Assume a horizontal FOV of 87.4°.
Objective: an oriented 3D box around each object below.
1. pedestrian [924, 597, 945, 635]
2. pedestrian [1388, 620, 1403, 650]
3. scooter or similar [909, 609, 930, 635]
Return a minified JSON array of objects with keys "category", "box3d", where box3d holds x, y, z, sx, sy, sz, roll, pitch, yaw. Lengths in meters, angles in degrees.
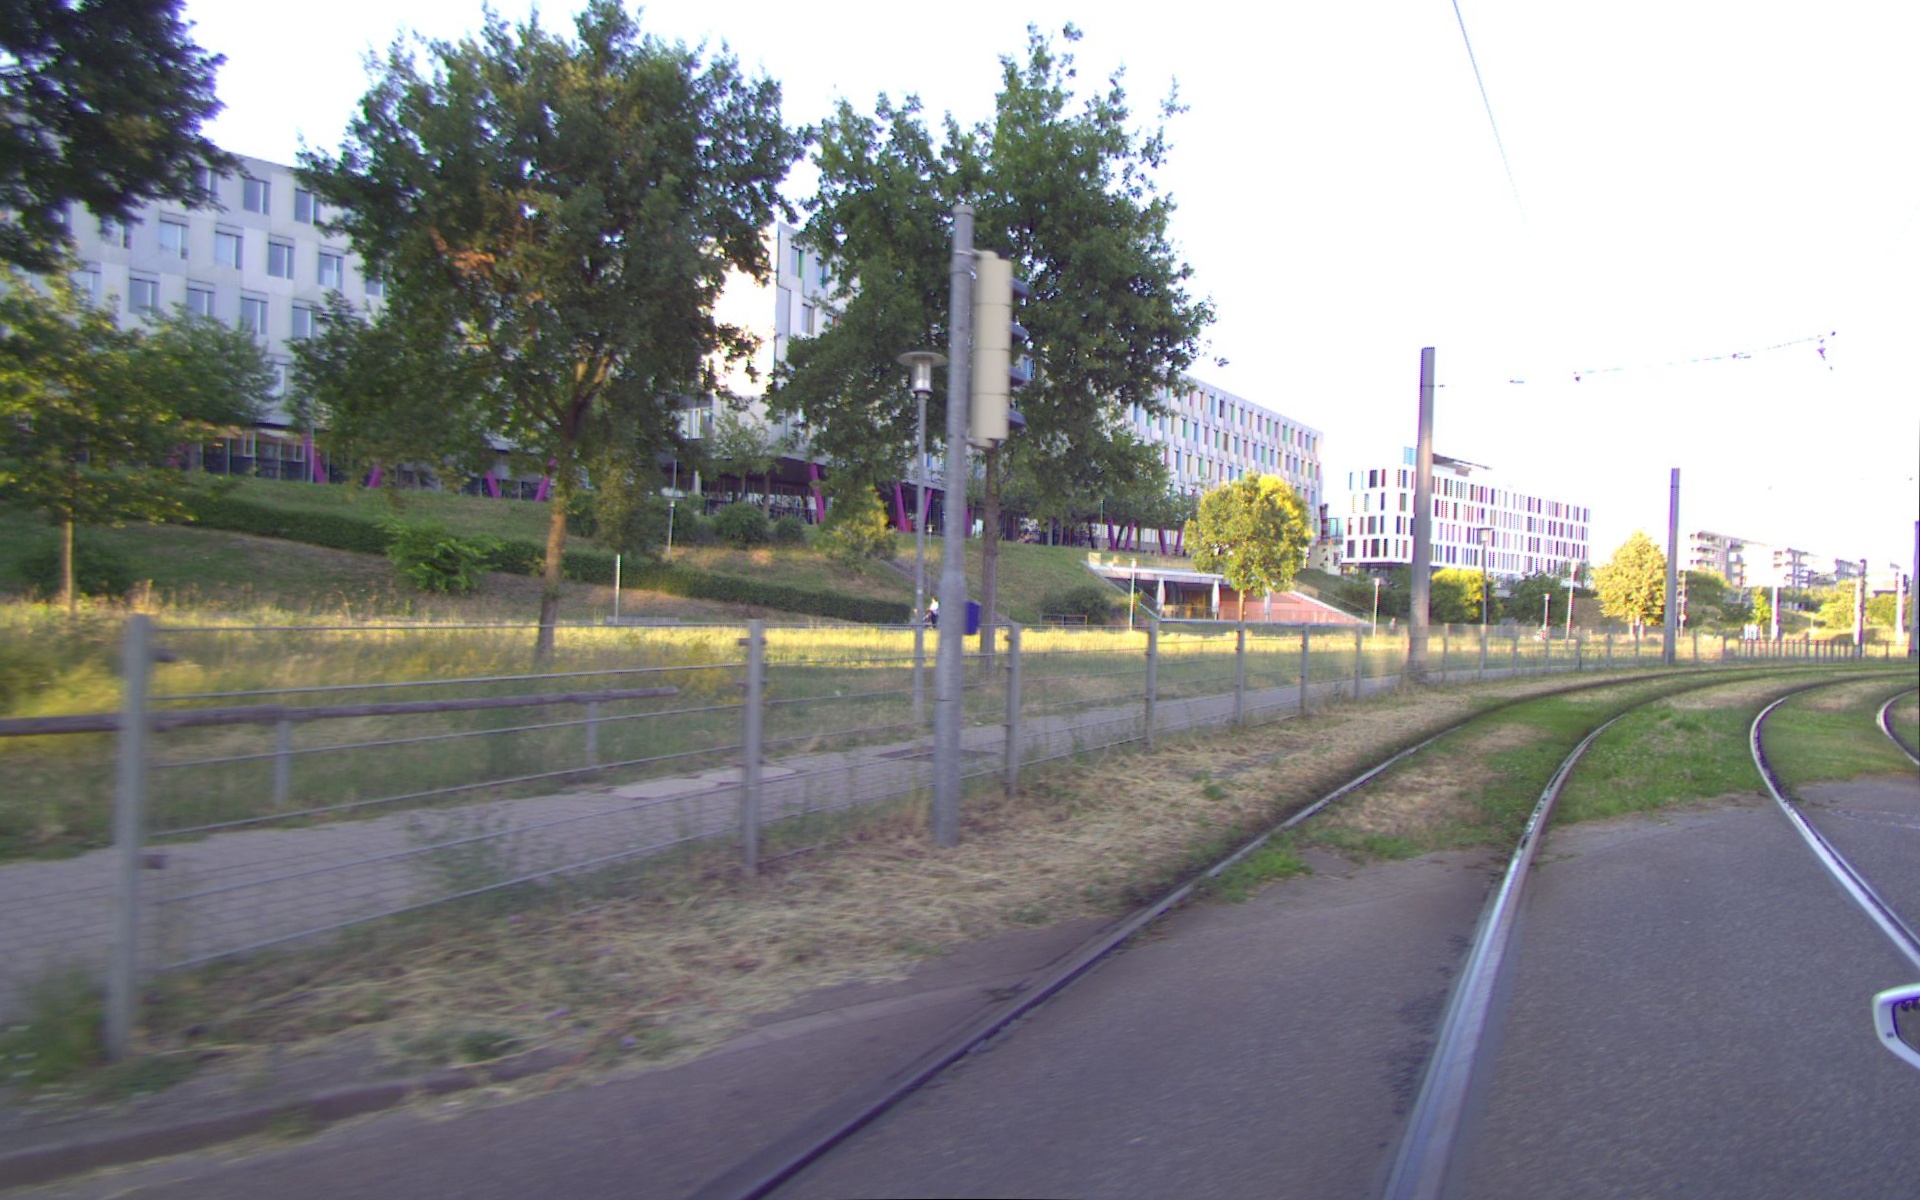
[{"category":"pedestrian","box3d":[-1.261,0.802,50.038,0.782,1.861,0.612,1,2,-33]},{"category":"pedestrian","box3d":[31.582,2.530,72.821,0.782,2.110,0.612,1,2,-33]},{"category":"scooter or similar","box3d":[-1.985,1.082,49.548,0.782,1.260,0.612,1,2,-33]}]
